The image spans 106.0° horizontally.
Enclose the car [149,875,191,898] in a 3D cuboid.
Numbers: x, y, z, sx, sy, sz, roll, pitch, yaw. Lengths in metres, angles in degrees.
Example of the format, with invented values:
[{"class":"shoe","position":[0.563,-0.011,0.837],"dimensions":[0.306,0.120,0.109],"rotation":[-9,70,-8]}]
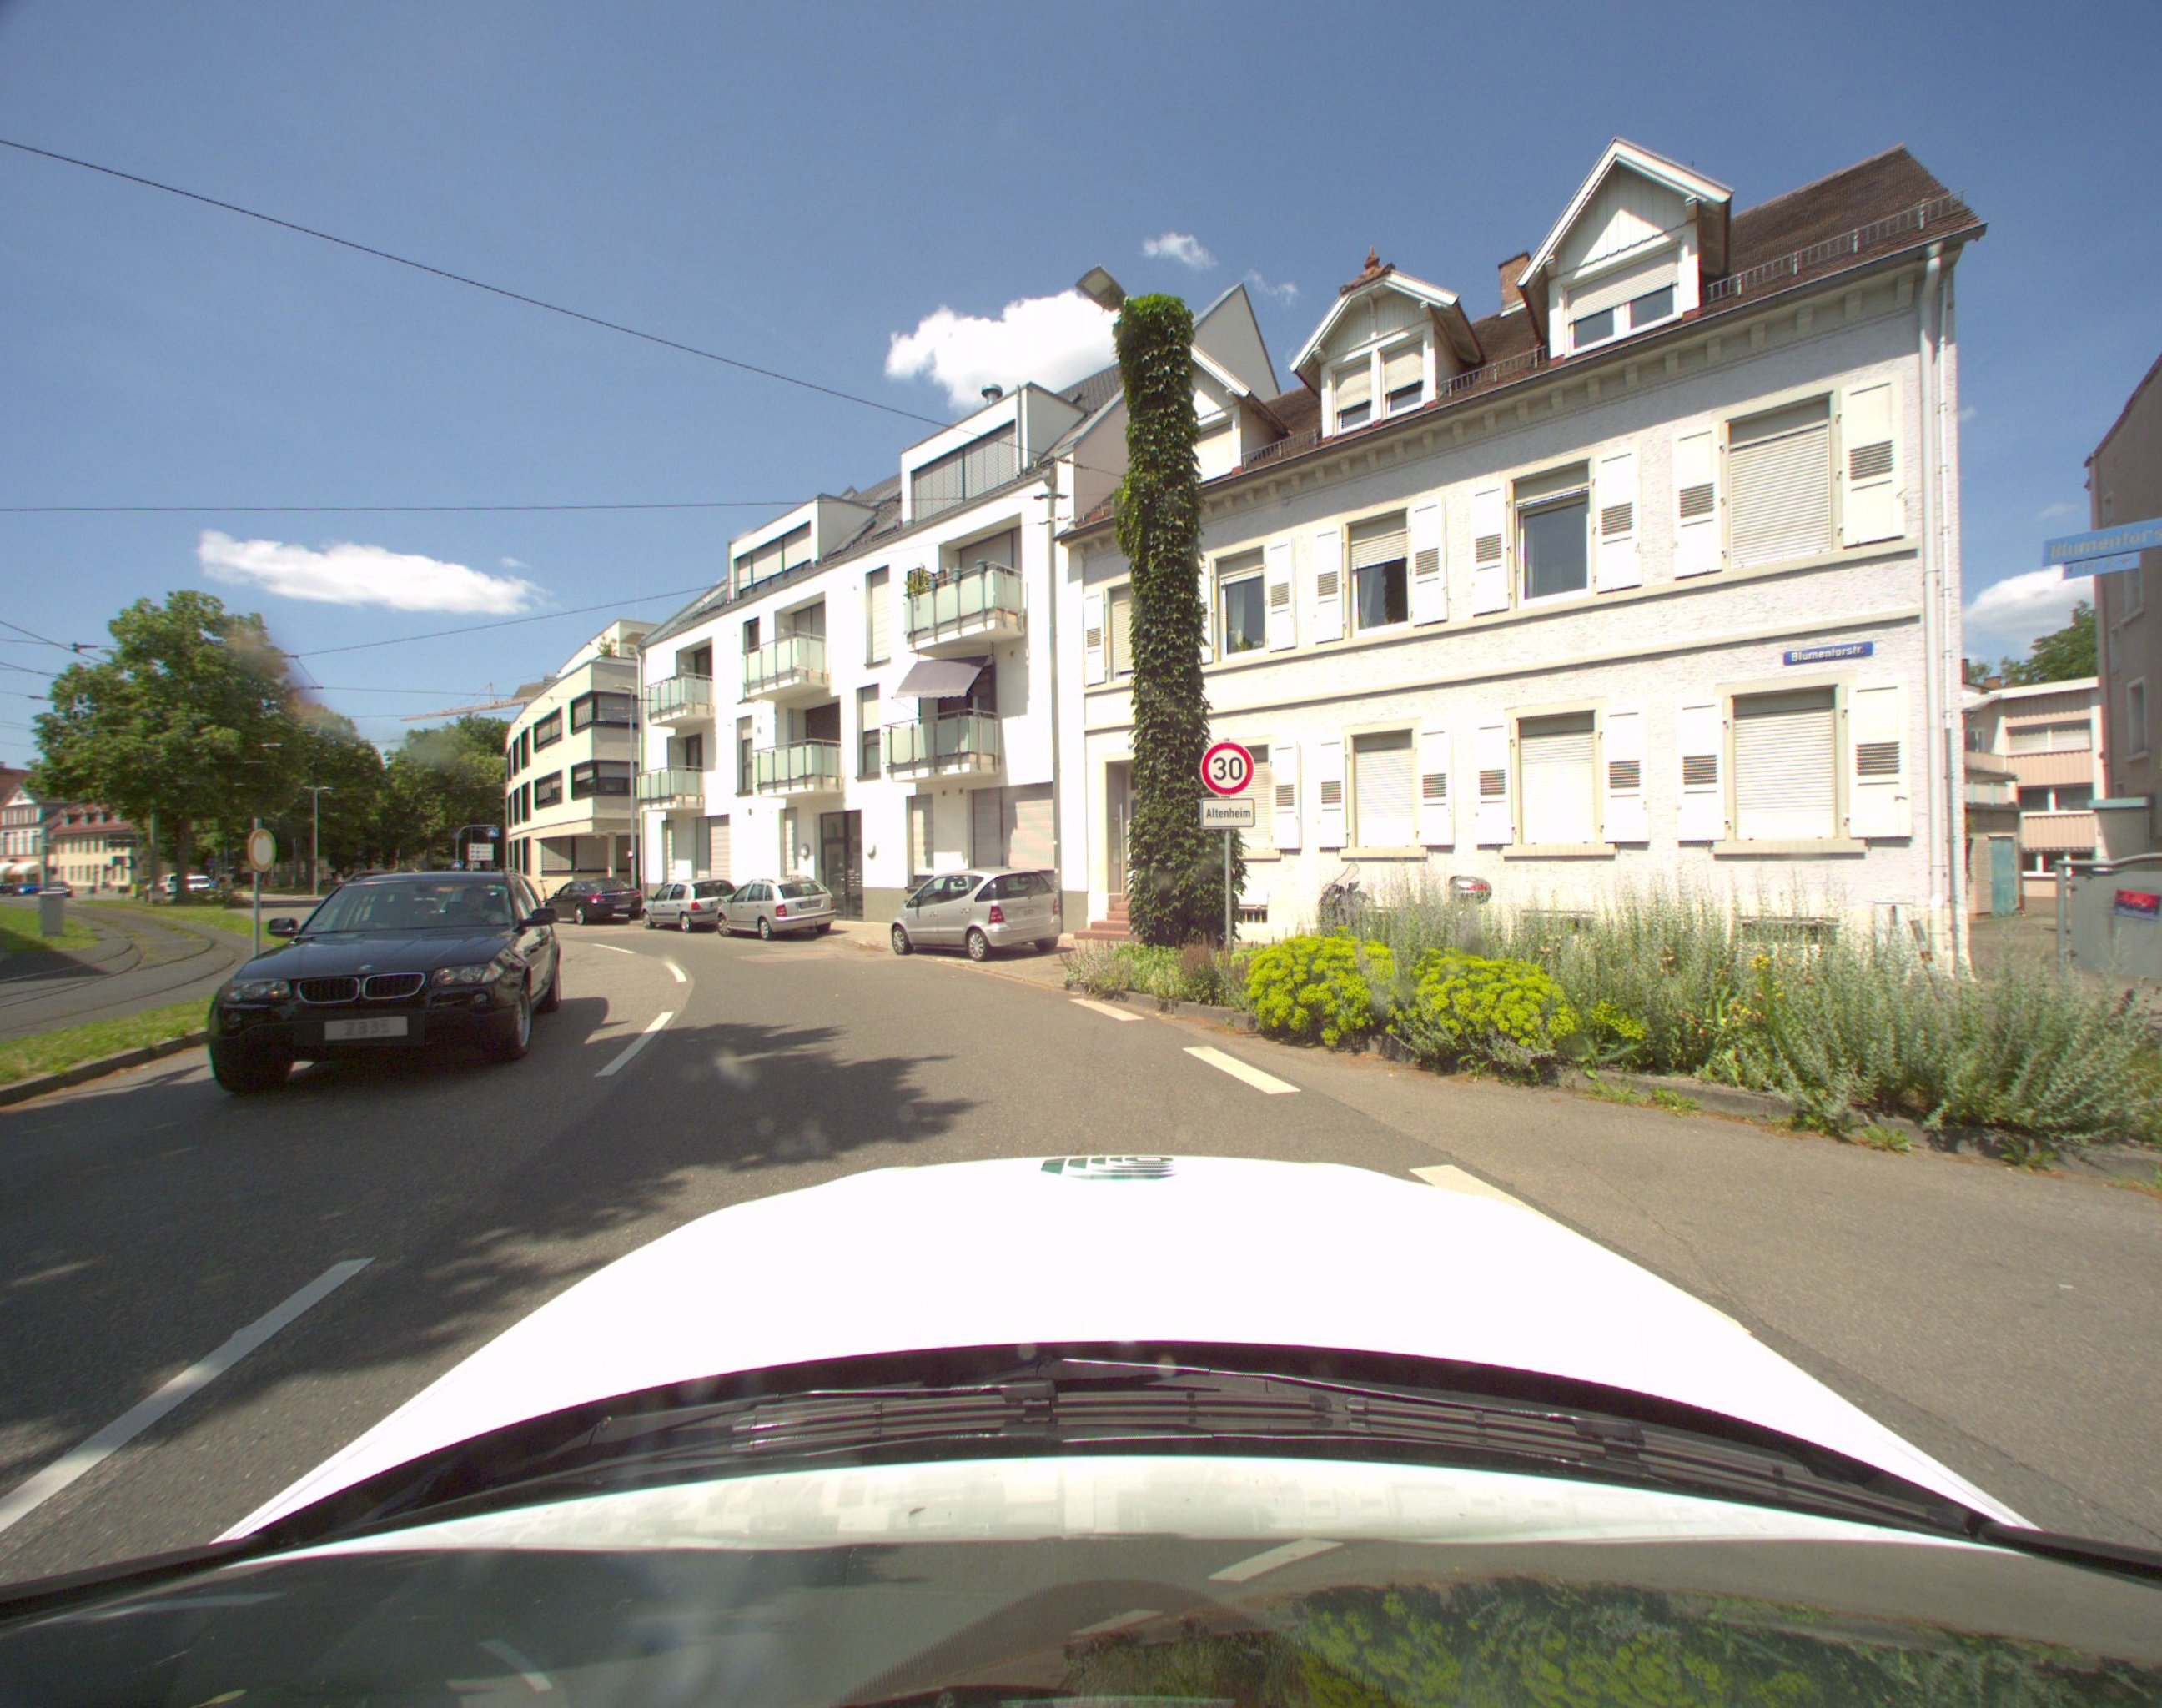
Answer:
[{"class":"car","position":[-85.577,3.016,76.490],"dimensions":[5.181,2.003,2.069],"rotation":[-1,-1,36]}]

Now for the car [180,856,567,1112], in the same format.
[{"class":"car","position":[-6.161,0.932,7.730],"dimensions":[1.867,1.632,4.287],"rotation":[-2,-1,-29]}]

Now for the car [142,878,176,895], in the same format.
[{"class":"car","position":[-91.477,3.204,80.769],"dimensions":[4.427,1.624,1.800],"rotation":[-1,-1,36]}]

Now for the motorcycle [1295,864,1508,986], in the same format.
[{"class":"motorcycle","position":[3.939,0.820,10.177],"dimensions":[2.308,1.352,0.807],"rotation":[-2,-1,44]}]

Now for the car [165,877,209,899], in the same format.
[{"class":"car","position":[-78.635,2.952,71.621],"dimensions":[4.365,1.826,2.013],"rotation":[-1,-1,34]}]

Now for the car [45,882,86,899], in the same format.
[{"class":"car","position":[-94.309,3.403,75.619],"dimensions":[4.188,1.534,1.921],"rotation":[-1,-2,32]}]

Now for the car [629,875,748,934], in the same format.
[{"class":"car","position":[-11.349,1.427,23.472],"dimensions":[3.659,1.432,1.608],"rotation":[-2,3,39]}]

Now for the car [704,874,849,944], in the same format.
[{"class":"car","position":[-7.722,1.317,20.472],"dimensions":[3.991,1.432,1.743],"rotation":[-2,3,43]}]

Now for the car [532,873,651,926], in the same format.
[{"class":"car","position":[-16.547,1.514,27.450],"dimensions":[4.488,1.509,1.818],"rotation":[-2,2,38]}]

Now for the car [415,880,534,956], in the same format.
[{"class":"car","position":[-13.700,1.357,18.331],"dimensions":[1.789,1.464,3.701],"rotation":[-1,-1,-42]}]

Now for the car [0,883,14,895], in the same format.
[{"class":"car","position":[-136.118,4.412,102.333],"dimensions":[3.949,1.486,1.878],"rotation":[-1,-1,28]}]

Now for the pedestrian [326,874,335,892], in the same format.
[{"class":"pedestrian","position":[-82.718,3.187,89.747],"dimensions":[0.754,1.911,0.676],"rotation":[0,0,-40]}]

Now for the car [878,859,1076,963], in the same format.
[{"class":"car","position":[-2.052,1.002,15.341],"dimensions":[1.742,1.610,3.753],"rotation":[-4,1,-44]}]
